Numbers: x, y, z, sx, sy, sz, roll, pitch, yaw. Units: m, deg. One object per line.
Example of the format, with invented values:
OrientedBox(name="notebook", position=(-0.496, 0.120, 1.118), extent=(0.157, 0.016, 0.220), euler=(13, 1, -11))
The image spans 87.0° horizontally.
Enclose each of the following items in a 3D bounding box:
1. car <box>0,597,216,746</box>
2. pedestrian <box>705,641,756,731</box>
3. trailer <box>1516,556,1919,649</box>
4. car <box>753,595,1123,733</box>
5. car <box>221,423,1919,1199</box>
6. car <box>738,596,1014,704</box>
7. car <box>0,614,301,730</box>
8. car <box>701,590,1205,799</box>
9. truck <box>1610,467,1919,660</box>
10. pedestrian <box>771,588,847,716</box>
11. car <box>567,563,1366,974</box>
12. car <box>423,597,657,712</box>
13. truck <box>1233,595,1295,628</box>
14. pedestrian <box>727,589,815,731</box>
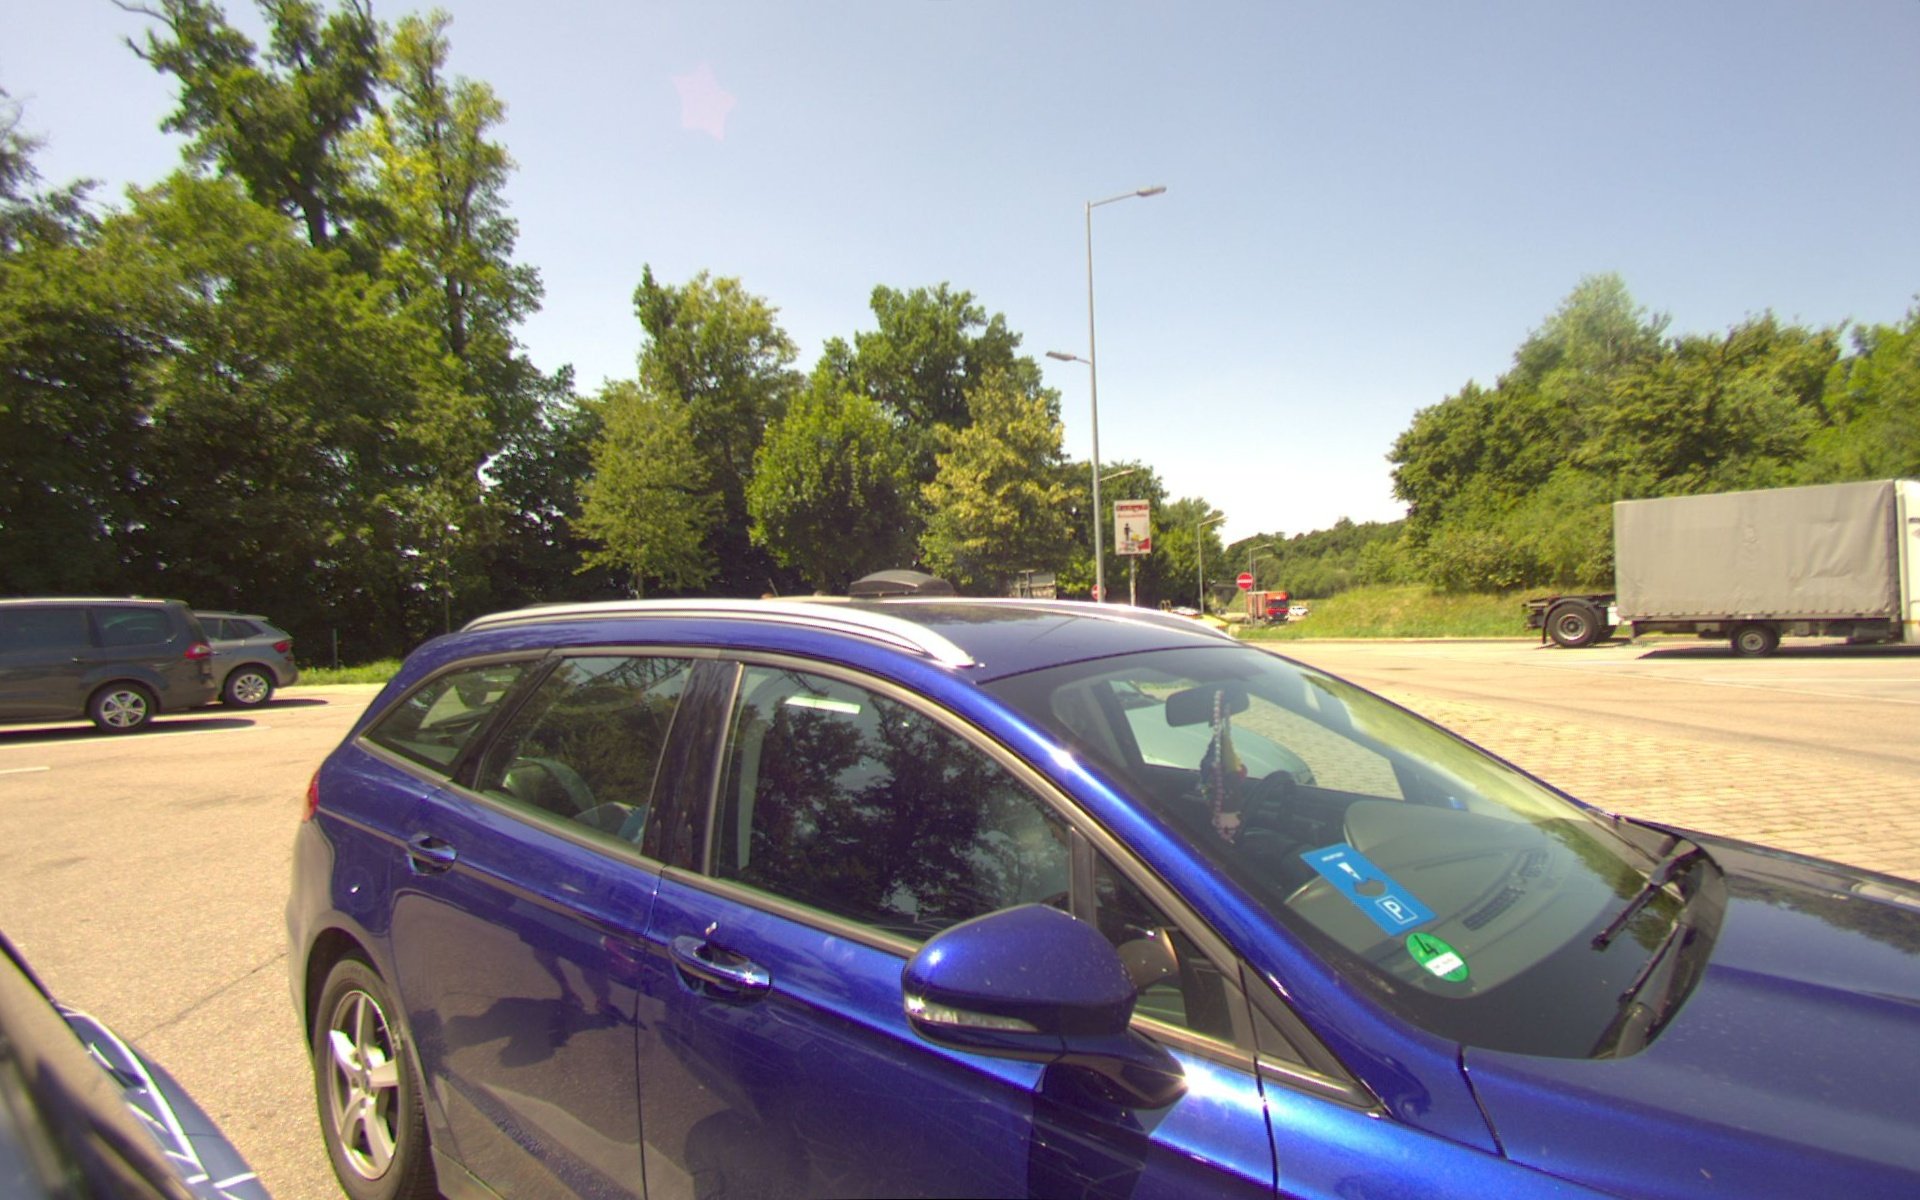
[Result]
OrientedBox(name="car", position=(-11.950, 0.857, 12.313), extent=(4.553, 1.725, 1.741), euler=(0, -1, -41))
OrientedBox(name="pedestrian", position=(-2.810, 1.042, 12.416), extent=(0.434, 1.052, 0.433), euler=(-2, -1, 44))
OrientedBox(name="trailer", position=(17.247, 0.127, 23.403), extent=(7.295, 1.701, 2.235), euler=(-4, -1, 43))
OrientedBox(name="car", position=(-0.393, 0.774, 12.770), extent=(4.485, 1.437, 1.756), euler=(-3, -1, 36))
OrientedBox(name="car", position=(0.245, 0.660, 2.150), extent=(4.490, 1.502, 1.851), euler=(-3, 0, 40))
OrientedBox(name="car", position=(-1.484, 0.826, 16.870), extent=(4.485, 1.562, 1.756), euler=(-3, -1, 36))
OrientedBox(name="car", position=(-12.604, 1.002, 15.477), extent=(1.687, 1.515, 3.943), euler=(-1, 0, 43))
OrientedBox(name="car", position=(-0.253, 0.748, 9.223), extent=(4.490, 1.437, 1.754), euler=(-3, -1, 40))
OrientedBox(name="truck", position=(16.820, -0.654, 18.975), extent=(7.295, 3.259, 2.709), euler=(-4, -1, 43))
OrientedBox(name="pedestrian", position=(-2.135, 0.713, 14.324), extent=(0.673, 1.746, 0.825), euler=(-2, -1, 31))
OrientedBox(name="car", position=(-0.266, 0.693, 5.848), extent=(4.490, 1.511, 1.754), euler=(-3, -1, 40))
OrientedBox(name="car", position=(-7.051, 0.845, 17.597), extent=(1.974, 1.725, 4.613), euler=(-1, 0, 3))
OrientedBox(name="truck", position=(40.297, 1.427, 134.884), extent=(3.088, 4.150, 15.408), euler=(-1, 0, -2))
OrientedBox(name="pedestrian", position=(-2.336, 0.719, 12.503), extent=(0.833, 1.676, 0.667), euler=(-2, -1, 41))
